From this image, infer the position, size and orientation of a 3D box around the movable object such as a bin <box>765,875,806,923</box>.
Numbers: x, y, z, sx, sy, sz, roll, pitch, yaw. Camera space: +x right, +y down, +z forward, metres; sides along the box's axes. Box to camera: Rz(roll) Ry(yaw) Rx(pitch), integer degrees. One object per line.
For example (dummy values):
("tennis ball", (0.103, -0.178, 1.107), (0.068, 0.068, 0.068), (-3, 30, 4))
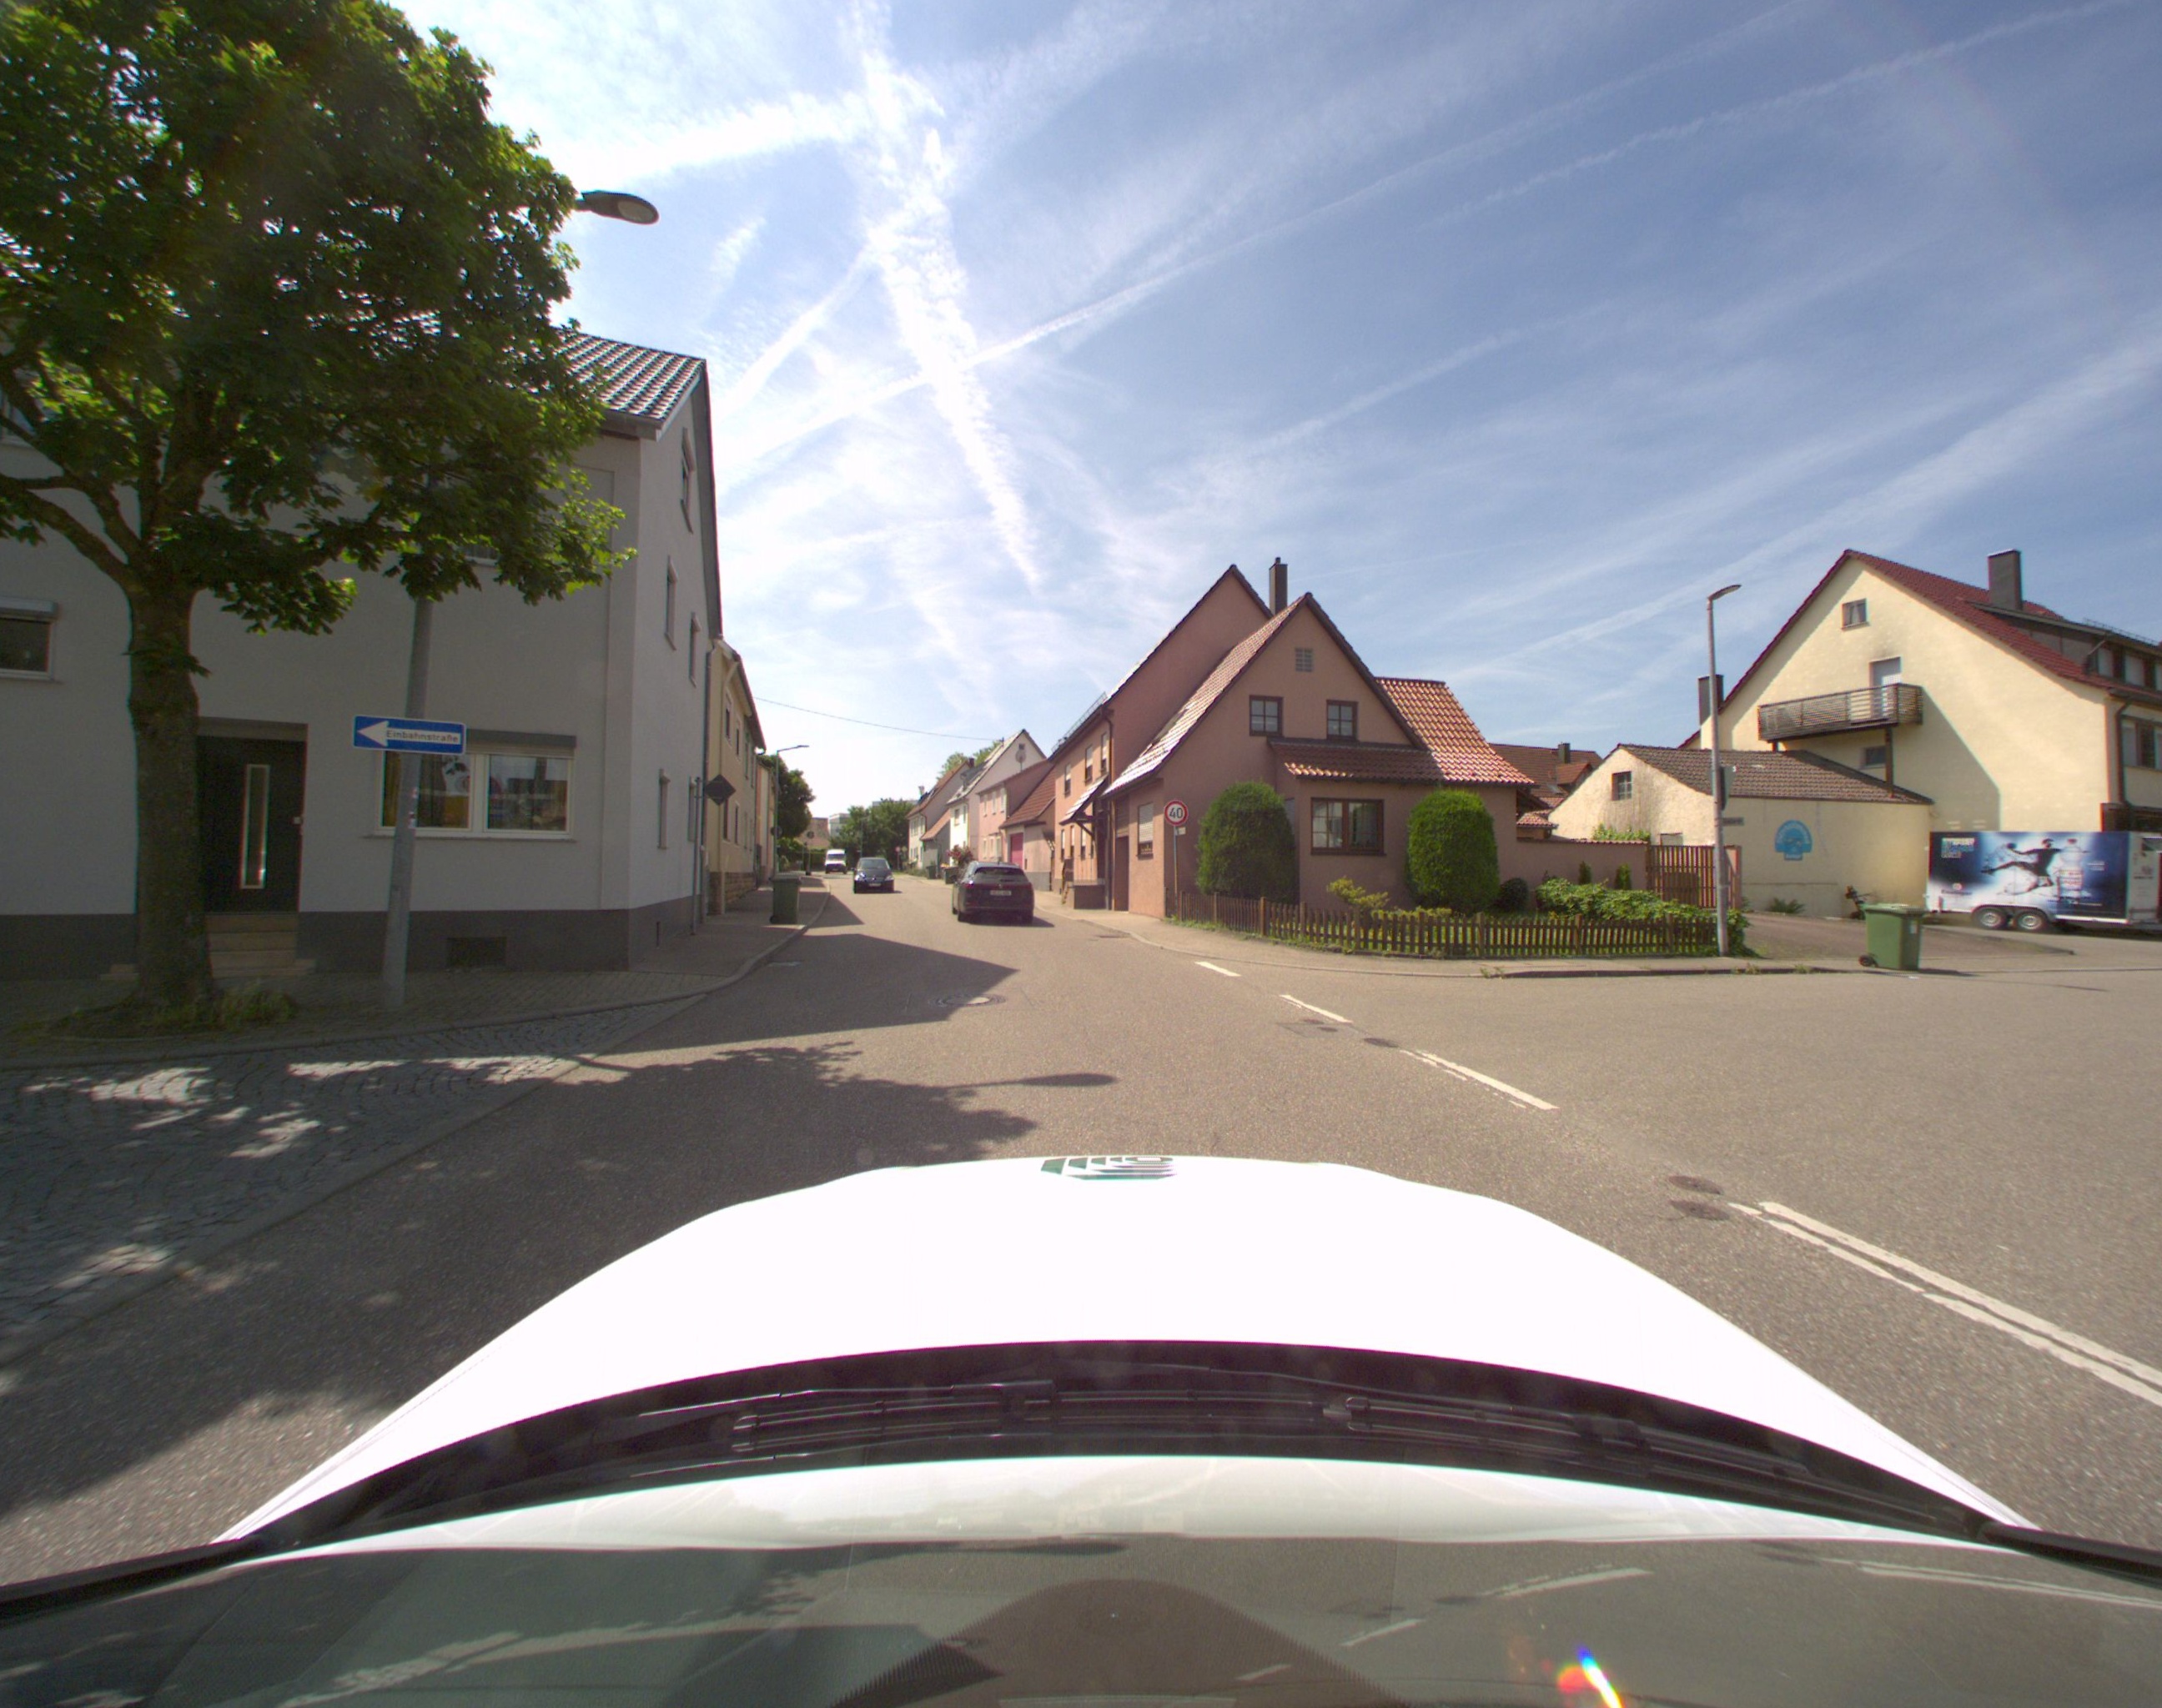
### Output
("movable object such as a bin", (-6.723, 1.015, 18.569), (0.754, 1.060, 0.676), (1, -1, -13))

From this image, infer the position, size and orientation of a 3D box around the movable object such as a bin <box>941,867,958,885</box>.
("movable object such as a bin", (-8.330, 1.361, 51.543), (0.880, 1.074, 0.866), (-3, 1, -23))

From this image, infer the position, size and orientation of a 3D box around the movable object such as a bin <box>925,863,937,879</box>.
("movable object such as a bin", (-11.132, 1.286, 60.344), (0.681, 1.155, 0.814), (2, -1, -23))

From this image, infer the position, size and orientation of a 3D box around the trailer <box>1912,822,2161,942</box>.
("trailer", (25.486, 0.690, 21.407), (2.001, 2.813, 4.731), (1, -1, -22))

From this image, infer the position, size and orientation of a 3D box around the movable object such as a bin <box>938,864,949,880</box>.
("movable object such as a bin", (-10.191, 1.314, 60.347), (0.667, 1.194, 0.656), (1, -1, -19))

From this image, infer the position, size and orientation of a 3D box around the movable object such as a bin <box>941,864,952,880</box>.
("movable object such as a bin", (-9.870, 1.322, 59.736), (0.667, 1.194, 0.584), (1, -1, -20))

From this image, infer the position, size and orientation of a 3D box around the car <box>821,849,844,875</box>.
("car", (-25.439, 0.787, 83.129), (2.120, 2.563, 5.791), (1, -1, -18))

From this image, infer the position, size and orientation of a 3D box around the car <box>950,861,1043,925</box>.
("car", (-2.246, 0.903, 20.567), (1.843, 1.420, 4.663), (1, -1, -12))

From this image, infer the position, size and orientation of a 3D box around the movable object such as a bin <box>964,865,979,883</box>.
("movable object such as a bin", (-6.879, 1.243, 50.992), (0.681, 1.050, 0.829), (-3, 1, -23))

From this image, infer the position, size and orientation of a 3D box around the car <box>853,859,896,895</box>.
("car", (-9.557, 0.998, 37.720), (1.802, 1.555, 4.050), (0, 0, -14))

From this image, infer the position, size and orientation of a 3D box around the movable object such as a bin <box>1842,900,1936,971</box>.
("movable object such as a bin", (13.486, 1.336, 13.611), (0.499, 1.095, 1.004), (1, -1, -25))
